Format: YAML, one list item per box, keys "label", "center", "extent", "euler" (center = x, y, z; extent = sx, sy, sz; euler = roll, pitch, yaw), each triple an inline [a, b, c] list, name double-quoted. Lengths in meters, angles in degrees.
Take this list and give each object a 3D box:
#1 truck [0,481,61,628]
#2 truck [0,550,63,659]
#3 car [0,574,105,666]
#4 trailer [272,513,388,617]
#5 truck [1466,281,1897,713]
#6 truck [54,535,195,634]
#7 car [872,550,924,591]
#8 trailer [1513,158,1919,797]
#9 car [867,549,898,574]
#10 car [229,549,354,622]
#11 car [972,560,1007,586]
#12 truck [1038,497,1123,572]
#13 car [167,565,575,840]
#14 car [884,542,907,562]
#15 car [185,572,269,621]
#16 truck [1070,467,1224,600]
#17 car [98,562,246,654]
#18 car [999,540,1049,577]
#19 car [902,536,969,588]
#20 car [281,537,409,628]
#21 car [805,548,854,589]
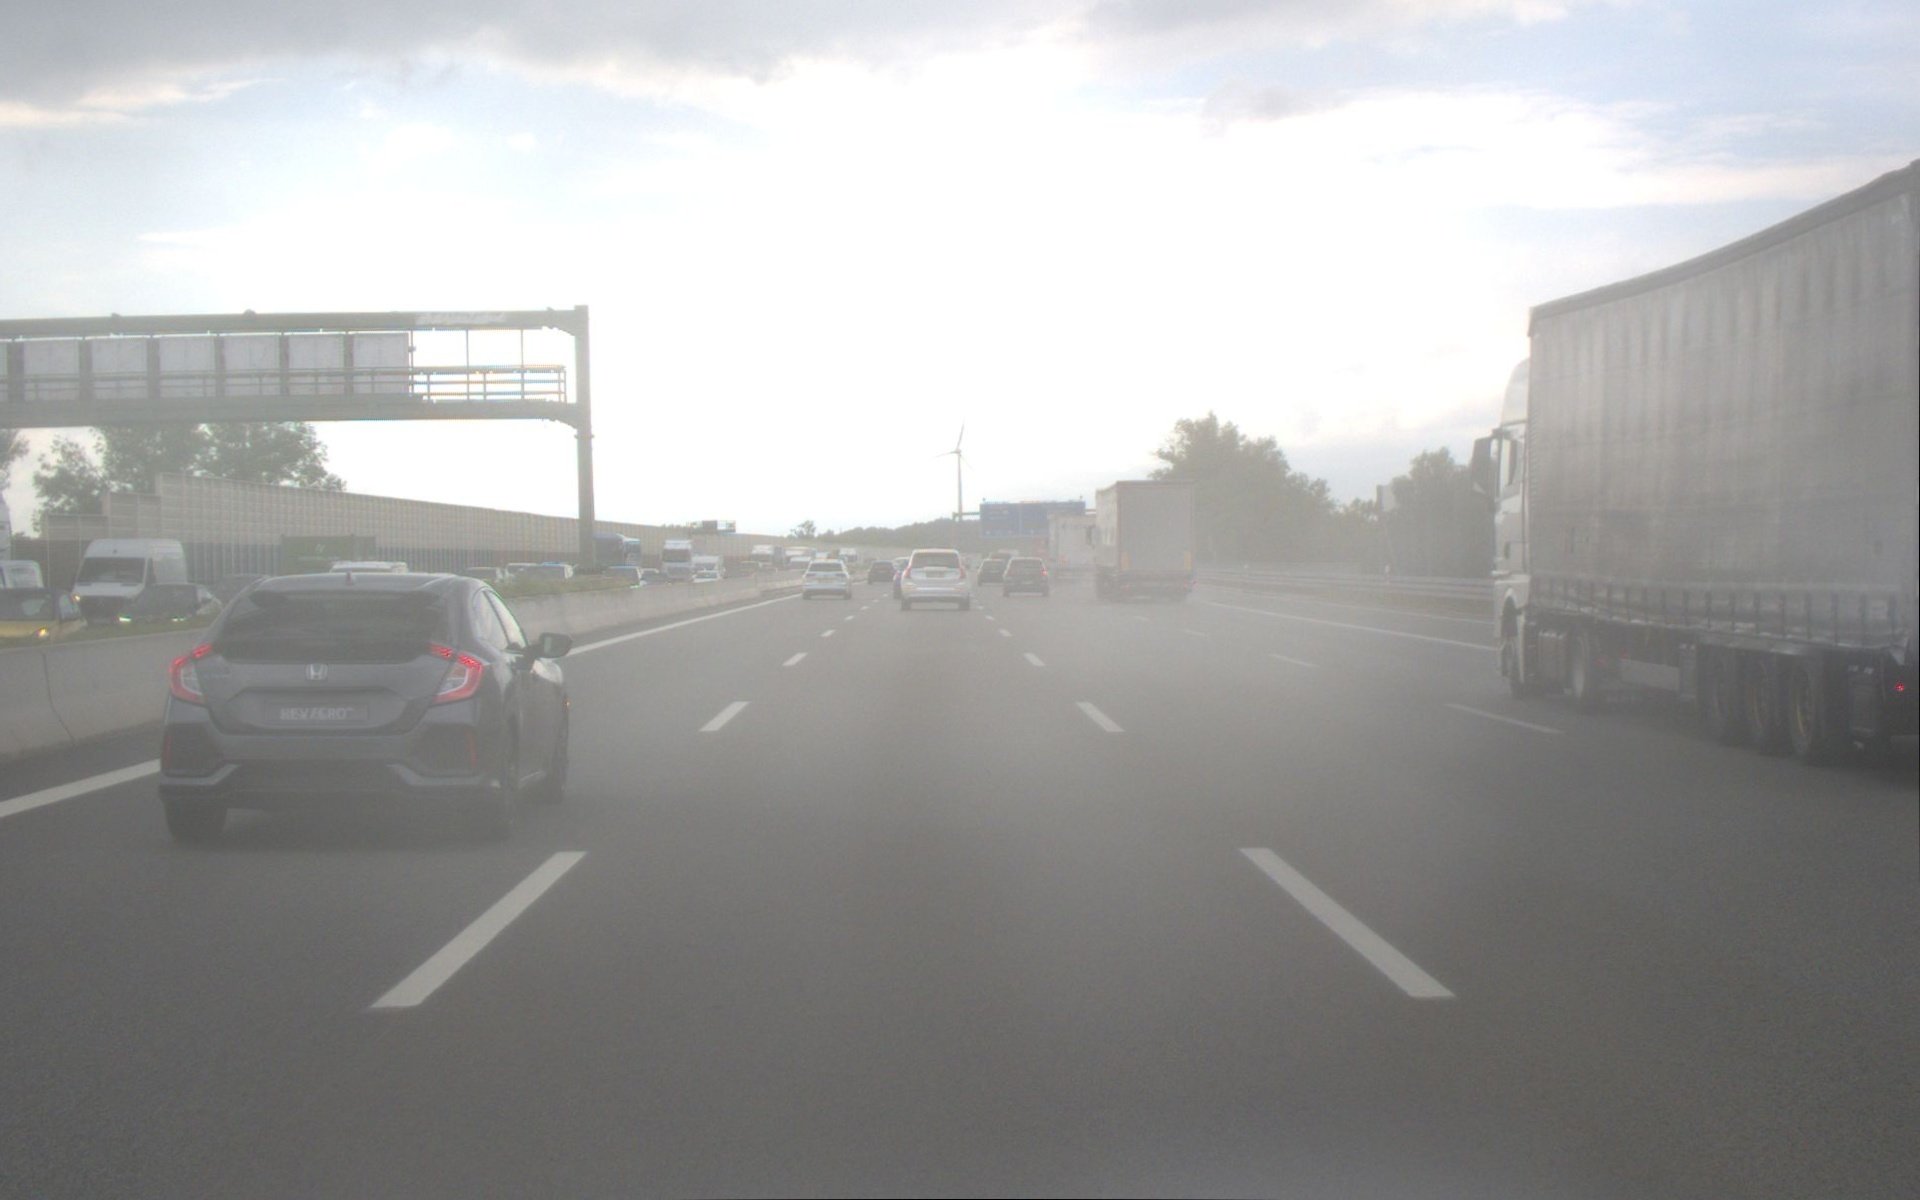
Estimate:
- label: "truck"
  center: [-26.593, -1.230, 93.349]
  extent: [2.752, 3.874, 6.051]
  euler: [-1, 1, 0]
- label: "truck"
  center: [-18.745, 0.077, 64.930]
  extent: [2.243, 1.993, 5.545]
  euler: [-1, 1, -1]
- label: "car"
  center: [-14.743, 0.301, 54.556]
  extent: [1.614, 1.383, 3.328]
  euler: [0, 1, -2]
- label: "trailer"
  center: [-19.533, -1.100, 106.823]
  extent: [2.449, 3.128, 6.051]
  euler: [-1, 1, 0]
- label: "truck"
  center: [7.198, -1.026, 35.279]
  extent: [2.961, 4.006, 6.589]
  euler: [0, 1, 0]
- label: "truck"
  center: [-22.841, -0.444, 94.223]
  extent: [2.243, 2.595, 6.559]
  euler: [-1, 1, 0]
- label: "car"
  center: [-2.302, -1.090, 126.717]
  extent: [1.772, 1.436, 4.056]
  euler: [0, 1, -3]
- label: "trailer"
  center: [7.295, -0.904, 28.630]
  extent: [2.961, 4.006, 14.119]
  euler: [0, 1, 0]
- label: "car"
  center: [-4.662, -2.312, 206.517]
  extent: [1.772, 1.436, 4.056]
  euler: [0, 1, -3]
- label: "car"
  center: [-19.522, -0.470, 100.686]
  extent: [2.449, 2.044, 6.194]
  euler: [-1, 1, 0]
- label: "car"
  center: [1.632, -1.528, 193.342]
  extent: [1.835, 1.436, 4.056]
  euler: [0, 1, -1]
- label: "truck"
  center: [6.866, -3.759, 198.697]
  extent: [4.243, 4.162, 11.990]
  euler: [1, 1, -1]
- label: "car"
  center: [-3.321, 0.507, 20.275]
  extent: [1.760, 1.364, 5.061]
  euler: [0, 1, -3]
- label: "car"
  center: [-4.871, -3.628, 260.131]
  extent: [1.772, 1.436, 4.056]
  euler: [0, 1, -1]
- label: "car"
  center: [-23.257, -0.127, 109.233]
  extent: [1.816, 1.490, 3.900]
  euler: [-1, 1, 0]
- label: "truck"
  center: [6.293, -2.270, 118.434]
  extent: [4.179, 4.273, 12.614]
  euler: [1, 1, -2]
- label: "car"
  center: [-18.758, 0.162, 82.107]
  extent: [2.243, 2.106, 5.541]
  euler: [-1, 1, 0]
- label: "car"
  center: [2.495, -1.648, 135.163]
  extent: [1.835, 1.436, 4.056]
  euler: [0, 1, -1]
- label: "car"
  center: [-0.721, -1.098, 98.283]
  extent: [1.772, 1.436, 4.056]
  euler: [0, 1, -3]
- label: "car"
  center: [-15.589, -0.463, 87.415]
  extent: [2.230, 2.229, 5.513]
  euler: [-1, 1, 0]
- label: "car"
  center: [-4.795, -1.168, 126.259]
  extent: [1.772, 1.436, 3.874]
  euler: [0, 1, -2]
